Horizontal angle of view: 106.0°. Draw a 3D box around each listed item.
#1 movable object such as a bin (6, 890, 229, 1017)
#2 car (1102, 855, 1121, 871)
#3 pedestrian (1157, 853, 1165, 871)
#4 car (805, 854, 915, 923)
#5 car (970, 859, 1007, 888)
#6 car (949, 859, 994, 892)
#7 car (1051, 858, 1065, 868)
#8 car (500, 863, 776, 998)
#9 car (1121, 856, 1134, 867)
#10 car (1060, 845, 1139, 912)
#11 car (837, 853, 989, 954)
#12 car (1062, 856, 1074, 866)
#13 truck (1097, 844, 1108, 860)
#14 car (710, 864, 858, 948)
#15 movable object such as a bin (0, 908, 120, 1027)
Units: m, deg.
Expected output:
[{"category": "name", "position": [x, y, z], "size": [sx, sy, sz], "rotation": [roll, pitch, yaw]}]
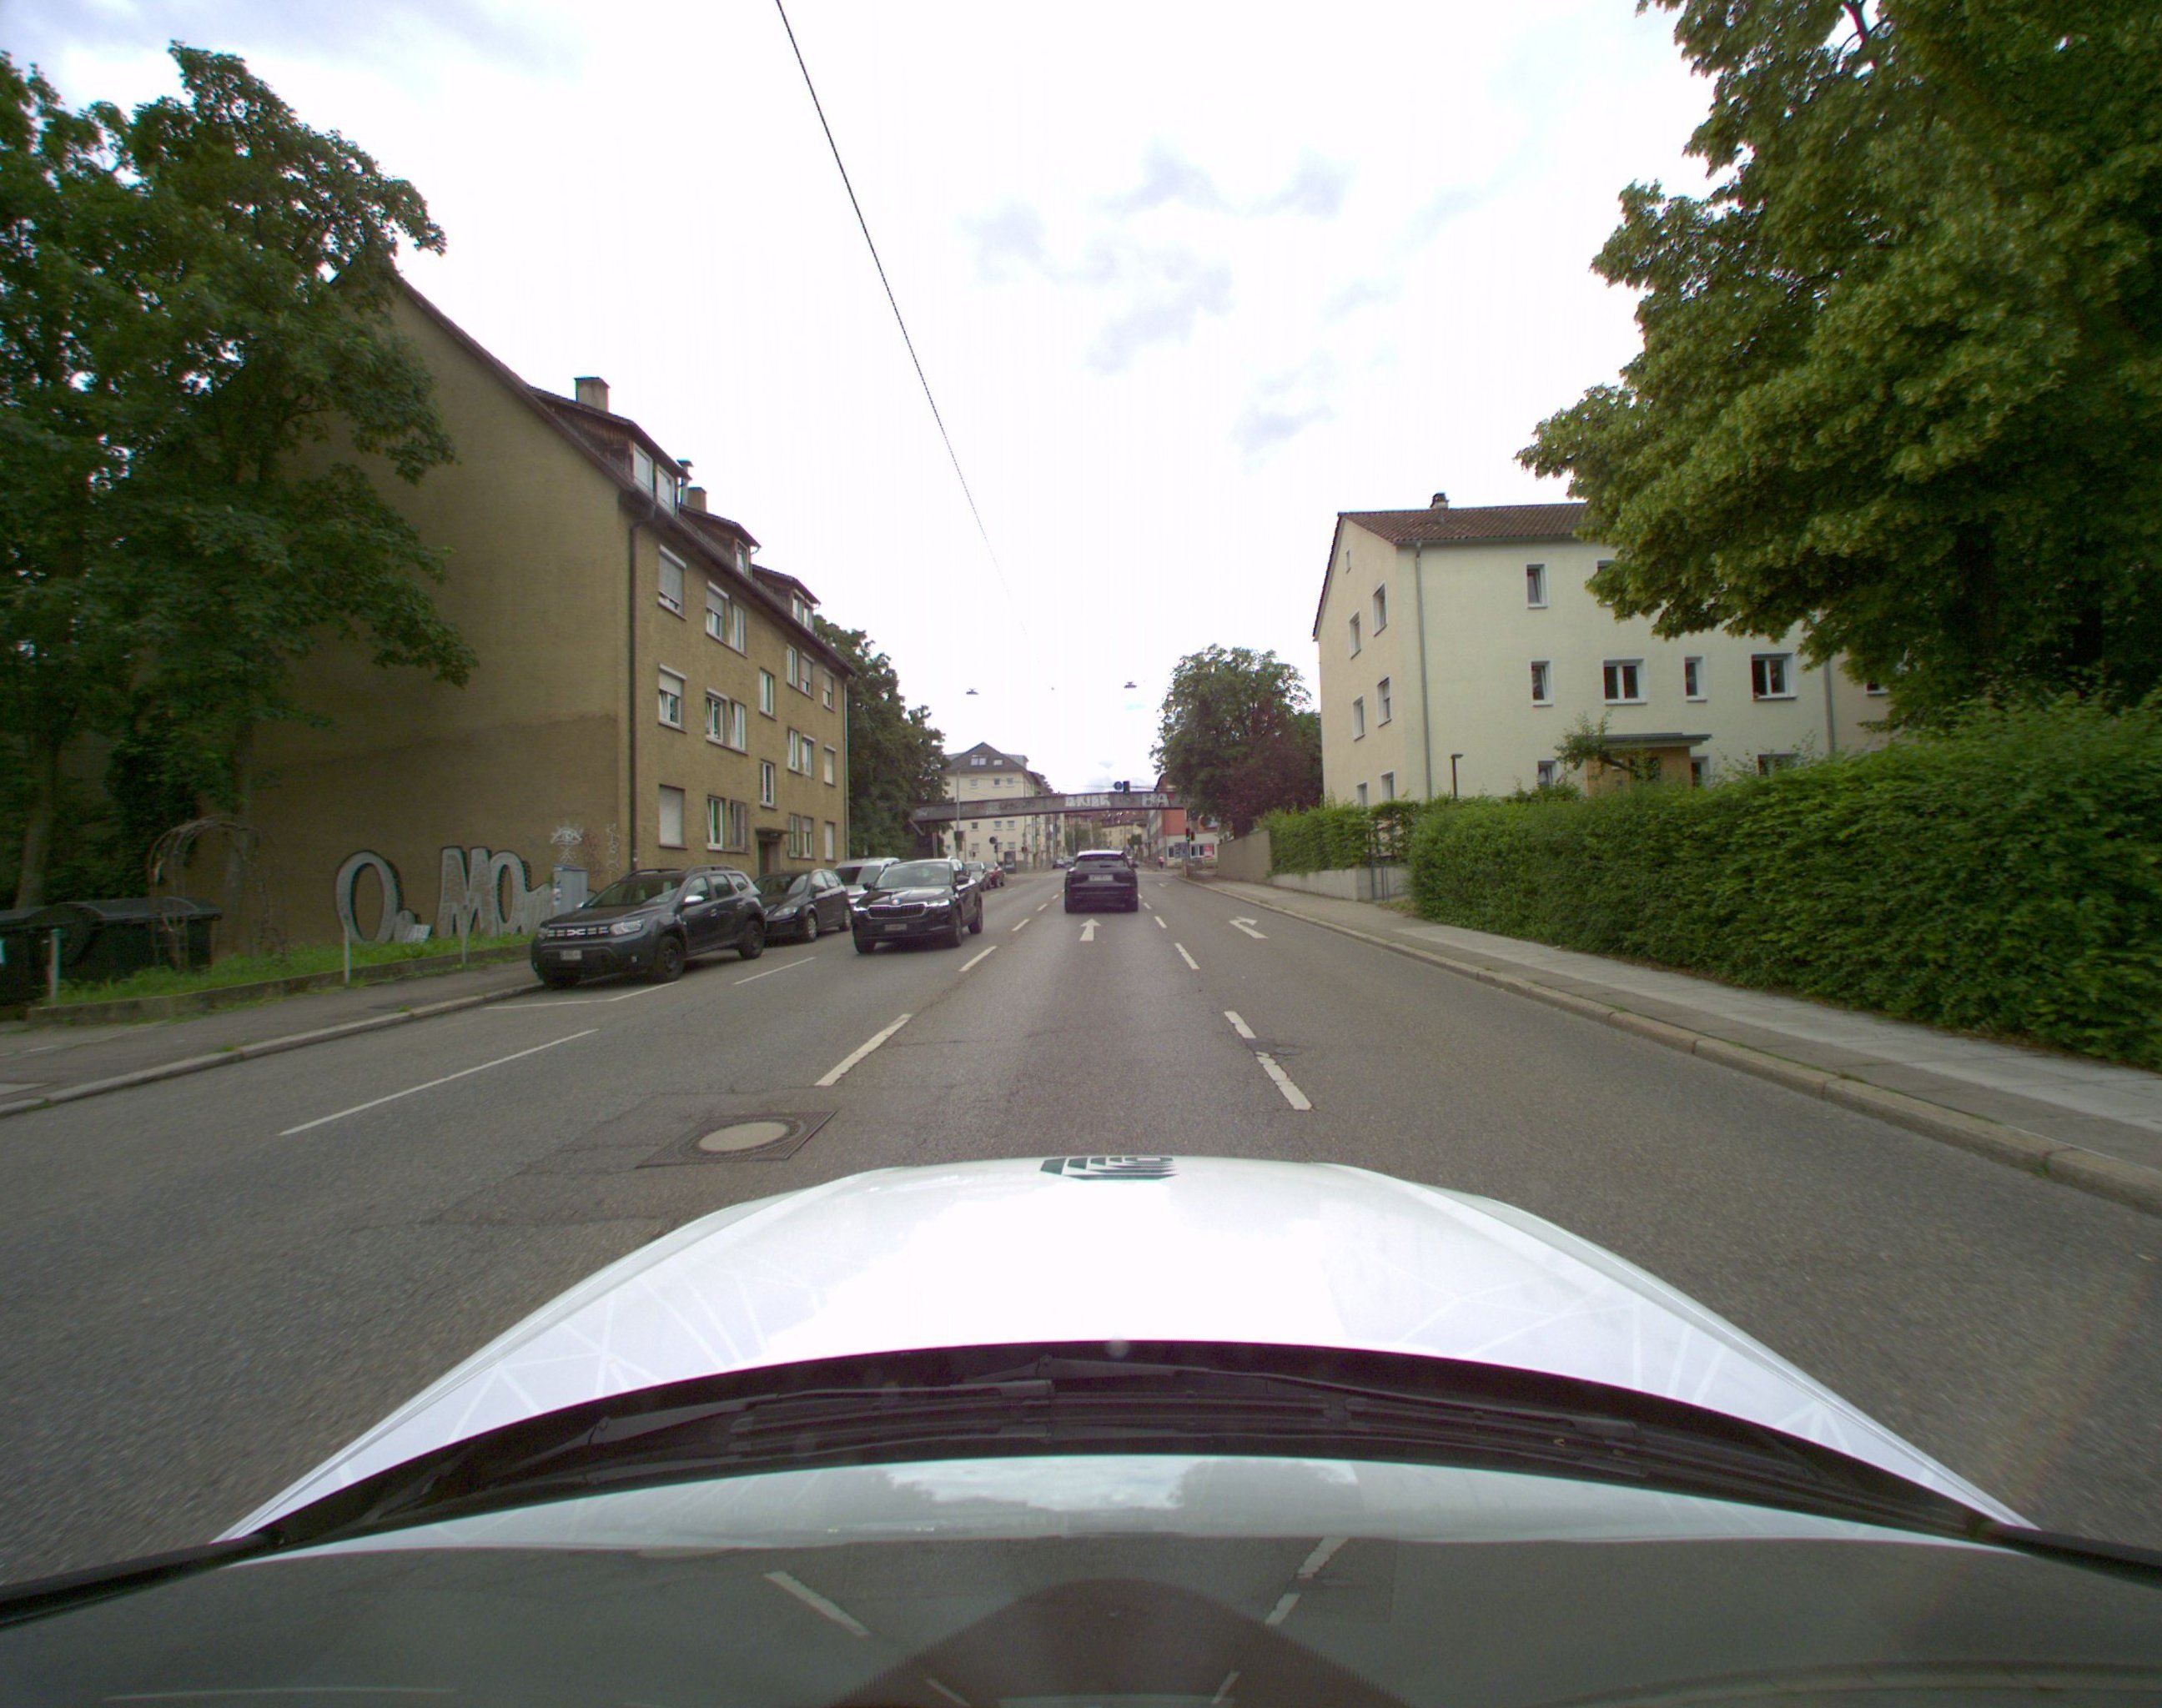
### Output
[{"category": "movable object such as a bin", "position": [-12.228, 1.225, 10.413], "size": [1.278, 1.428, 1.278], "rotation": [-1, 0, -3]}, {"category": "car", "position": [2.946, 0.843, 79.333], "size": [1.734, 1.400, 4.002], "rotation": [-1, 1, 2]}, {"category": "pedestrian", "position": [8.225, 0.830, 83.597], "size": [0.650, 1.792, 0.714], "rotation": [-2, 0, -1]}, {"category": "car", "position": [-6.363, 0.927, 23.991], "size": [1.770, 1.754, 4.559], "rotation": [-3, 0, 2]}, {"category": "car", "position": [-5.392, 1.095, 47.956], "size": [1.528, 1.540, 3.984], "rotation": [-3, 0, 2]}, {"category": "car", "position": [-5.753, 1.091, 43.201], "size": [1.740, 1.568, 3.907], "rotation": [-3, 0, 0]}, {"category": "car", "position": [-3.430, 1.318, 120.668], "size": [1.758, 1.508, 4.003], "rotation": [-2, 0, 3]}, {"category": "car", "position": [-6.699, 1.045, 12.963], "size": [1.775, 1.609, 4.268], "rotation": [-4, 0, 3]}, {"category": "car", "position": [6.200, 0.996, 109.117], "size": [1.734, 1.400, 4.002], "rotation": [-1, 1, 2]}, {"category": "car", "position": [0.550, 0.609, 22.888], "size": [1.986, 1.662, 4.002], "rotation": [-1, 1, 2]}, {"category": "car", "position": [-3.017, 0.816, 15.546], "size": [1.833, 1.590, 4.166], "rotation": [-3, 0, 2]}, {"category": "car", "position": [-2.154, 1.173, 137.262], "size": [1.758, 1.650, 4.003], "rotation": [-2, 0, 3]}, {"category": "truck", "position": [4.886, -0.438, 180.964], "size": [2.258, 3.424, 9.882], "rotation": [-2, 0, 2]}, {"category": "car", "position": [-6.475, 1.054, 18.280], "size": [1.746, 1.530, 4.098], "rotation": [-3, 0, 0]}, {"category": "movable object such as a bin", "position": [-13.887, 1.470, 10.694], "size": [1.388, 1.428, 0.913], "rotation": [-1, 0, -1]}]
